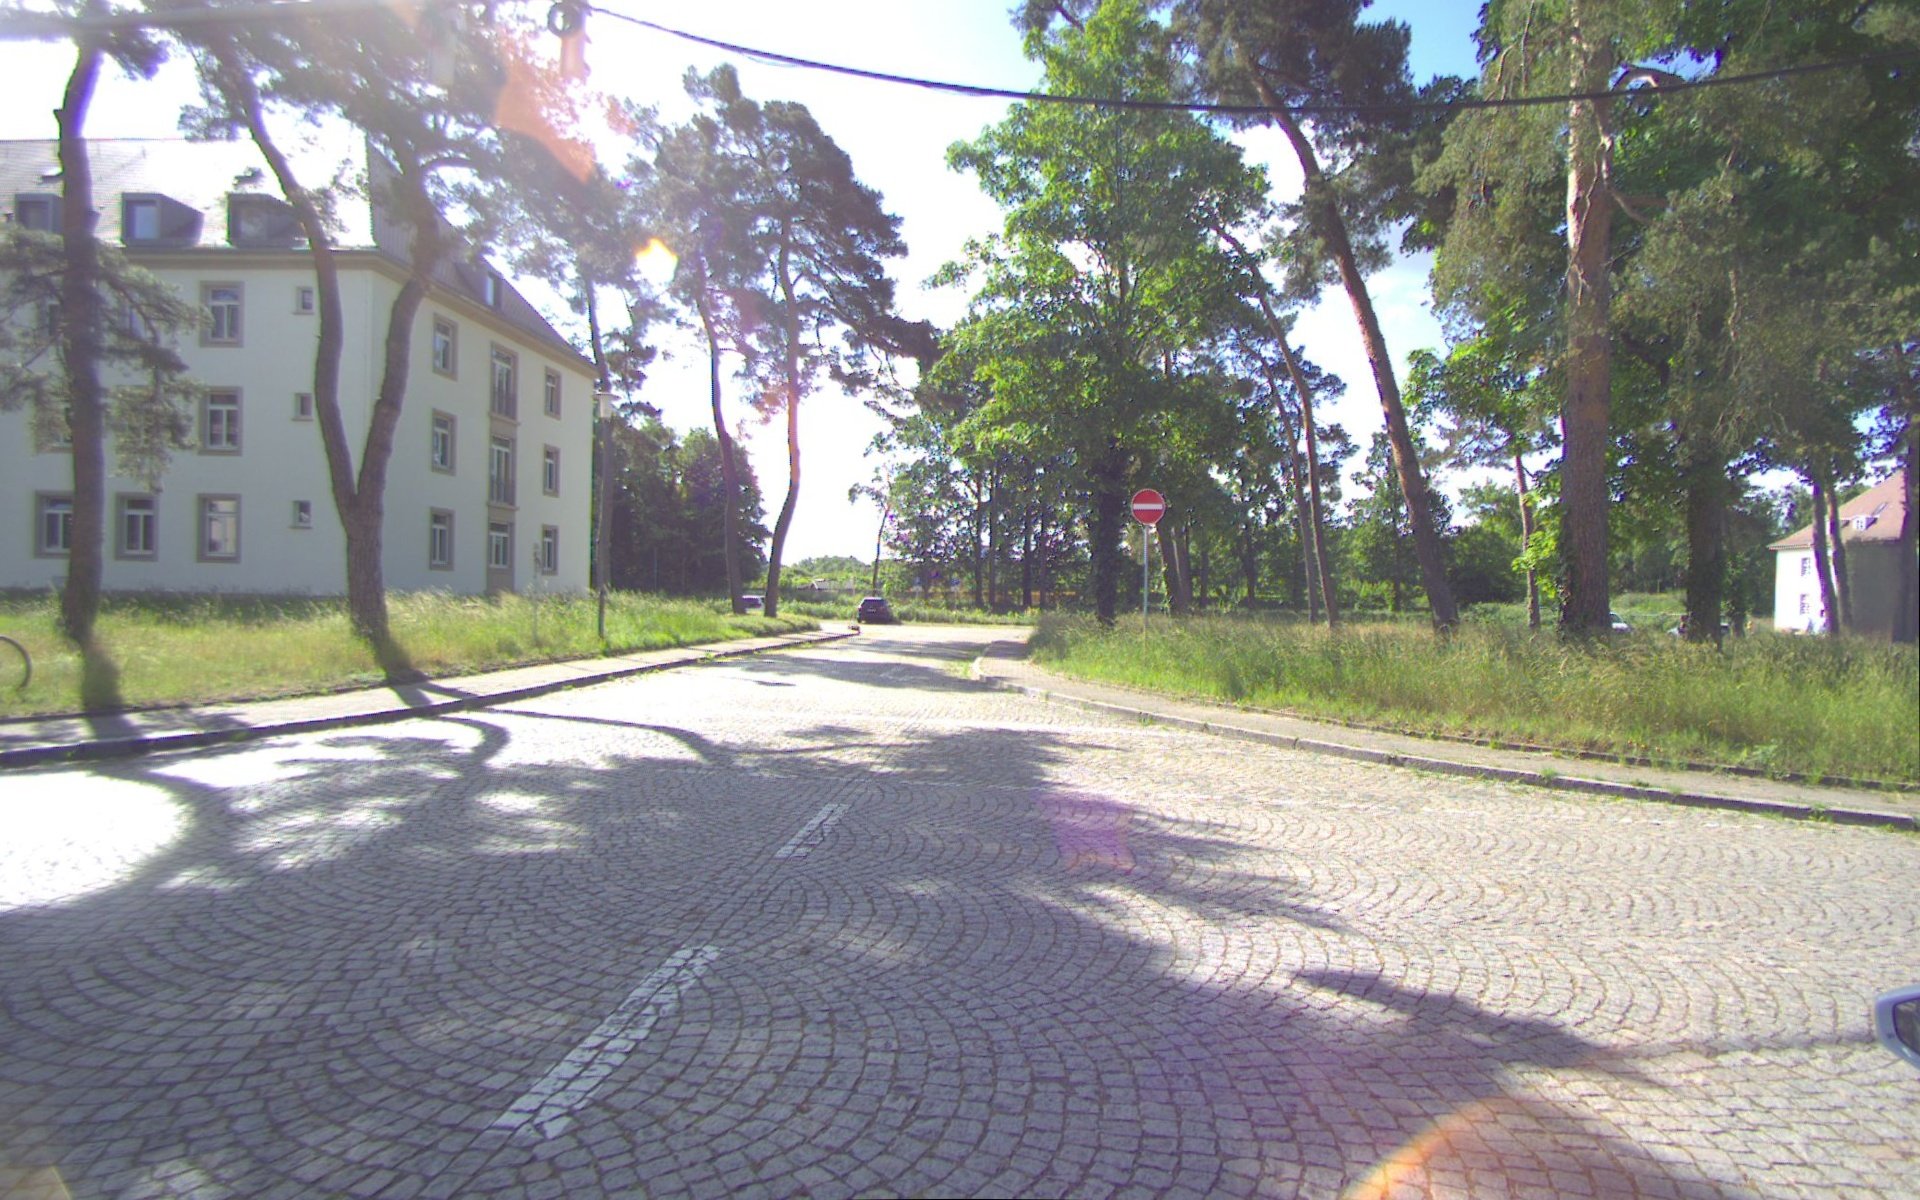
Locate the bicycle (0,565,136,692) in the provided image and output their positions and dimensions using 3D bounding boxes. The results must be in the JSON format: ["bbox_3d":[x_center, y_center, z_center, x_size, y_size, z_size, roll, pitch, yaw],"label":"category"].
[{"bbox_3d":[-10.248,0.281,10.914,2.073,1.301,0.621,1,3,2],"label":"bicycle"}]

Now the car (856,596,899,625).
[{"bbox_3d":[-4.894,0.620,60.095,1.803,1.651,4.062,1,-1,6],"label":"car"}]

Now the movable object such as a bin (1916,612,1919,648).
[{"bbox_3d":[66.331,2.077,65.429,2.508,2.362,5.614,2,0,-39],"label":"movable object such as a bin"}]

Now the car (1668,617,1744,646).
[{"bbox_3d":[46.478,1.940,62.699,1.874,1.626,4.245,2,0,5],"label":"car"}]

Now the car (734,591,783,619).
[{"bbox_3d":[-12.254,0.299,61.312,1.685,1.602,4.111,2,0,6],"label":"car"}]

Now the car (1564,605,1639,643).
[{"bbox_3d":[40.082,1.464,62.914,1.917,2.193,4.864,2,0,5],"label":"car"}]
